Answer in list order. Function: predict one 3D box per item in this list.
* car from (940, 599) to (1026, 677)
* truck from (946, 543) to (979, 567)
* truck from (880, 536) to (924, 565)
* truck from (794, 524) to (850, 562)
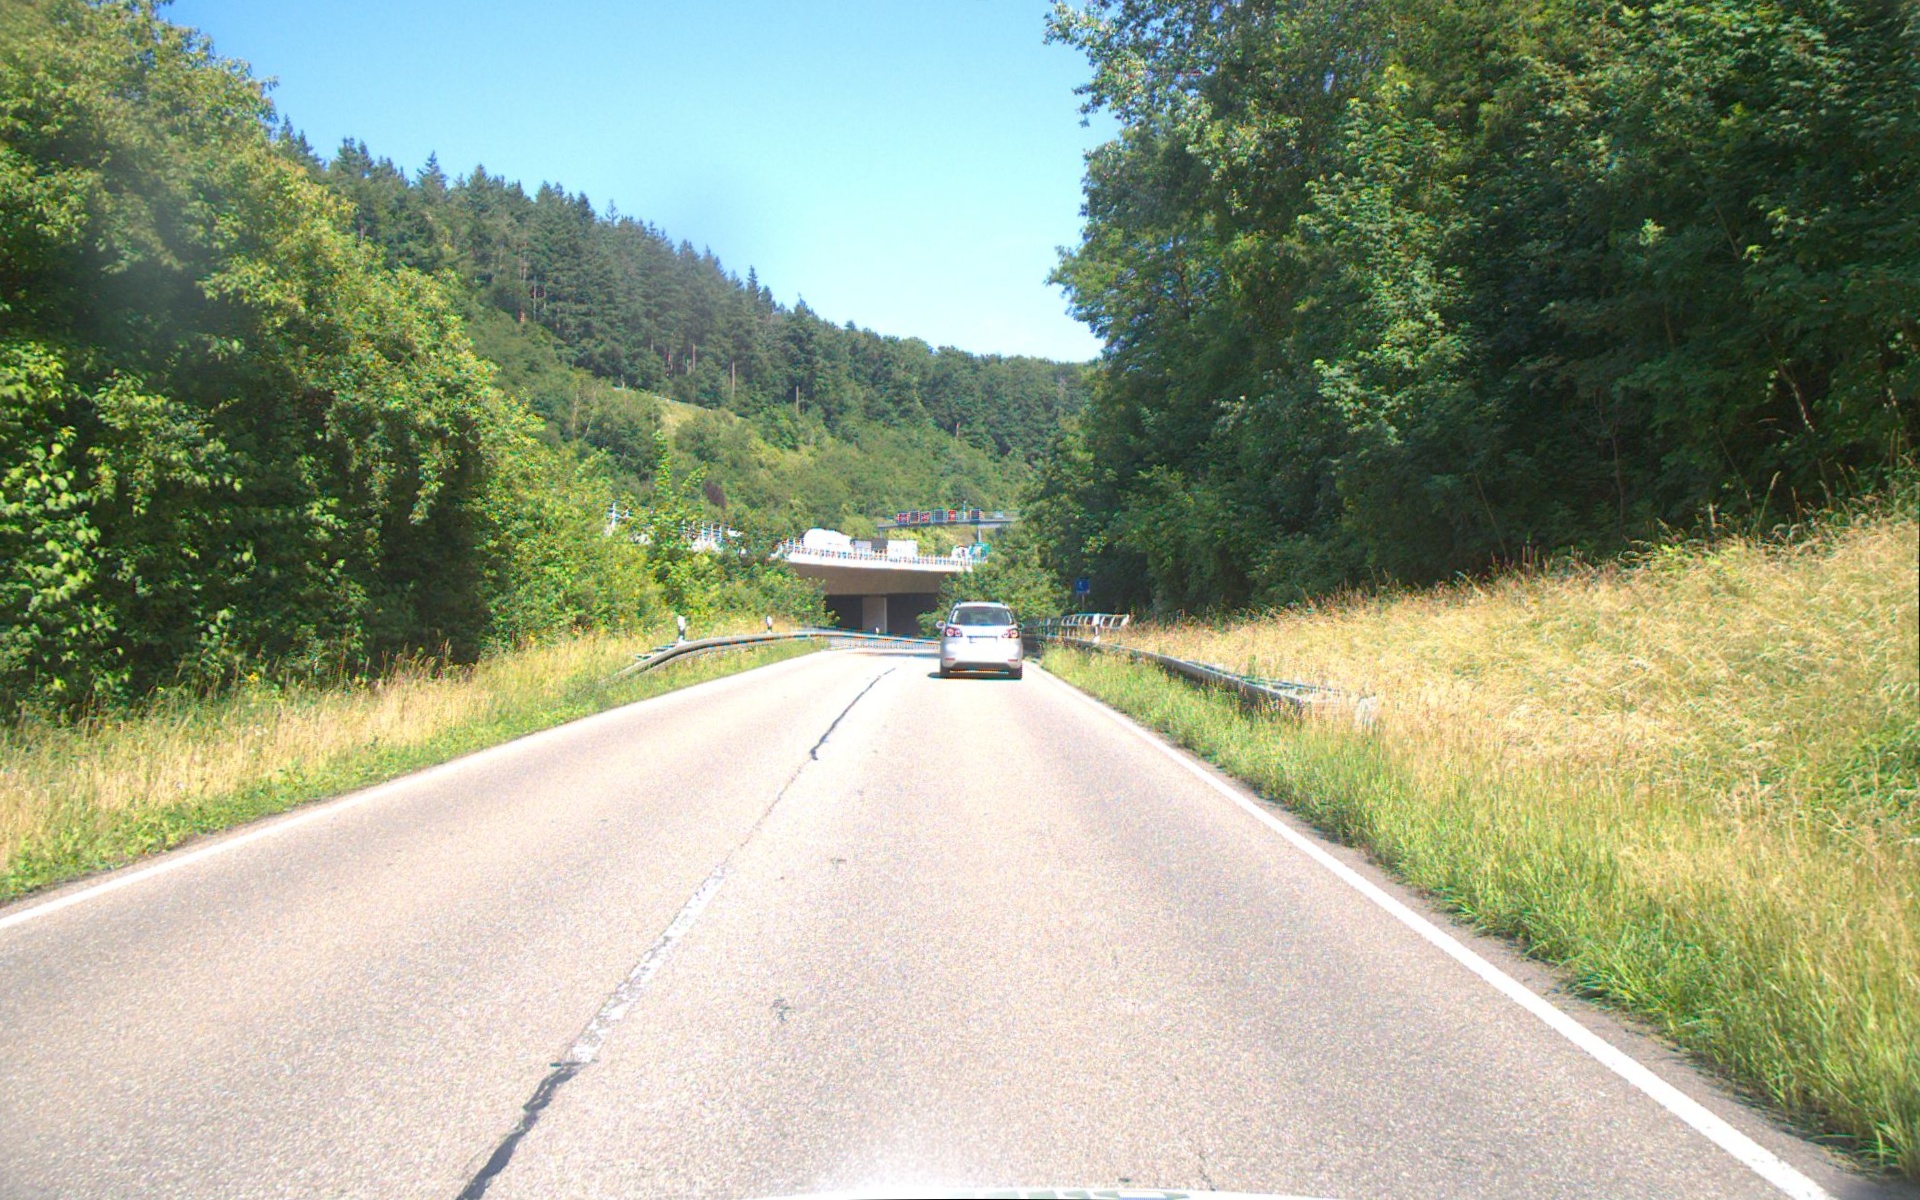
[{"bbox_3d":[0.475,0.785,35.191,1.715,1.546,4.159,0,-1,0],"label":"car"},{"bbox_3d":[0.463,-6.933,257.203,3.465,3.483,9.907,0,0,10],"label":"truck"},{"bbox_3d":[-7.369,-6.291,212.802,3.679,3.444,10.516,0,0,9],"label":"truck"},{"bbox_3d":[-13.902,-5.679,167.701,3.298,3.413,10.184,1,0,9],"label":"truck"}]
